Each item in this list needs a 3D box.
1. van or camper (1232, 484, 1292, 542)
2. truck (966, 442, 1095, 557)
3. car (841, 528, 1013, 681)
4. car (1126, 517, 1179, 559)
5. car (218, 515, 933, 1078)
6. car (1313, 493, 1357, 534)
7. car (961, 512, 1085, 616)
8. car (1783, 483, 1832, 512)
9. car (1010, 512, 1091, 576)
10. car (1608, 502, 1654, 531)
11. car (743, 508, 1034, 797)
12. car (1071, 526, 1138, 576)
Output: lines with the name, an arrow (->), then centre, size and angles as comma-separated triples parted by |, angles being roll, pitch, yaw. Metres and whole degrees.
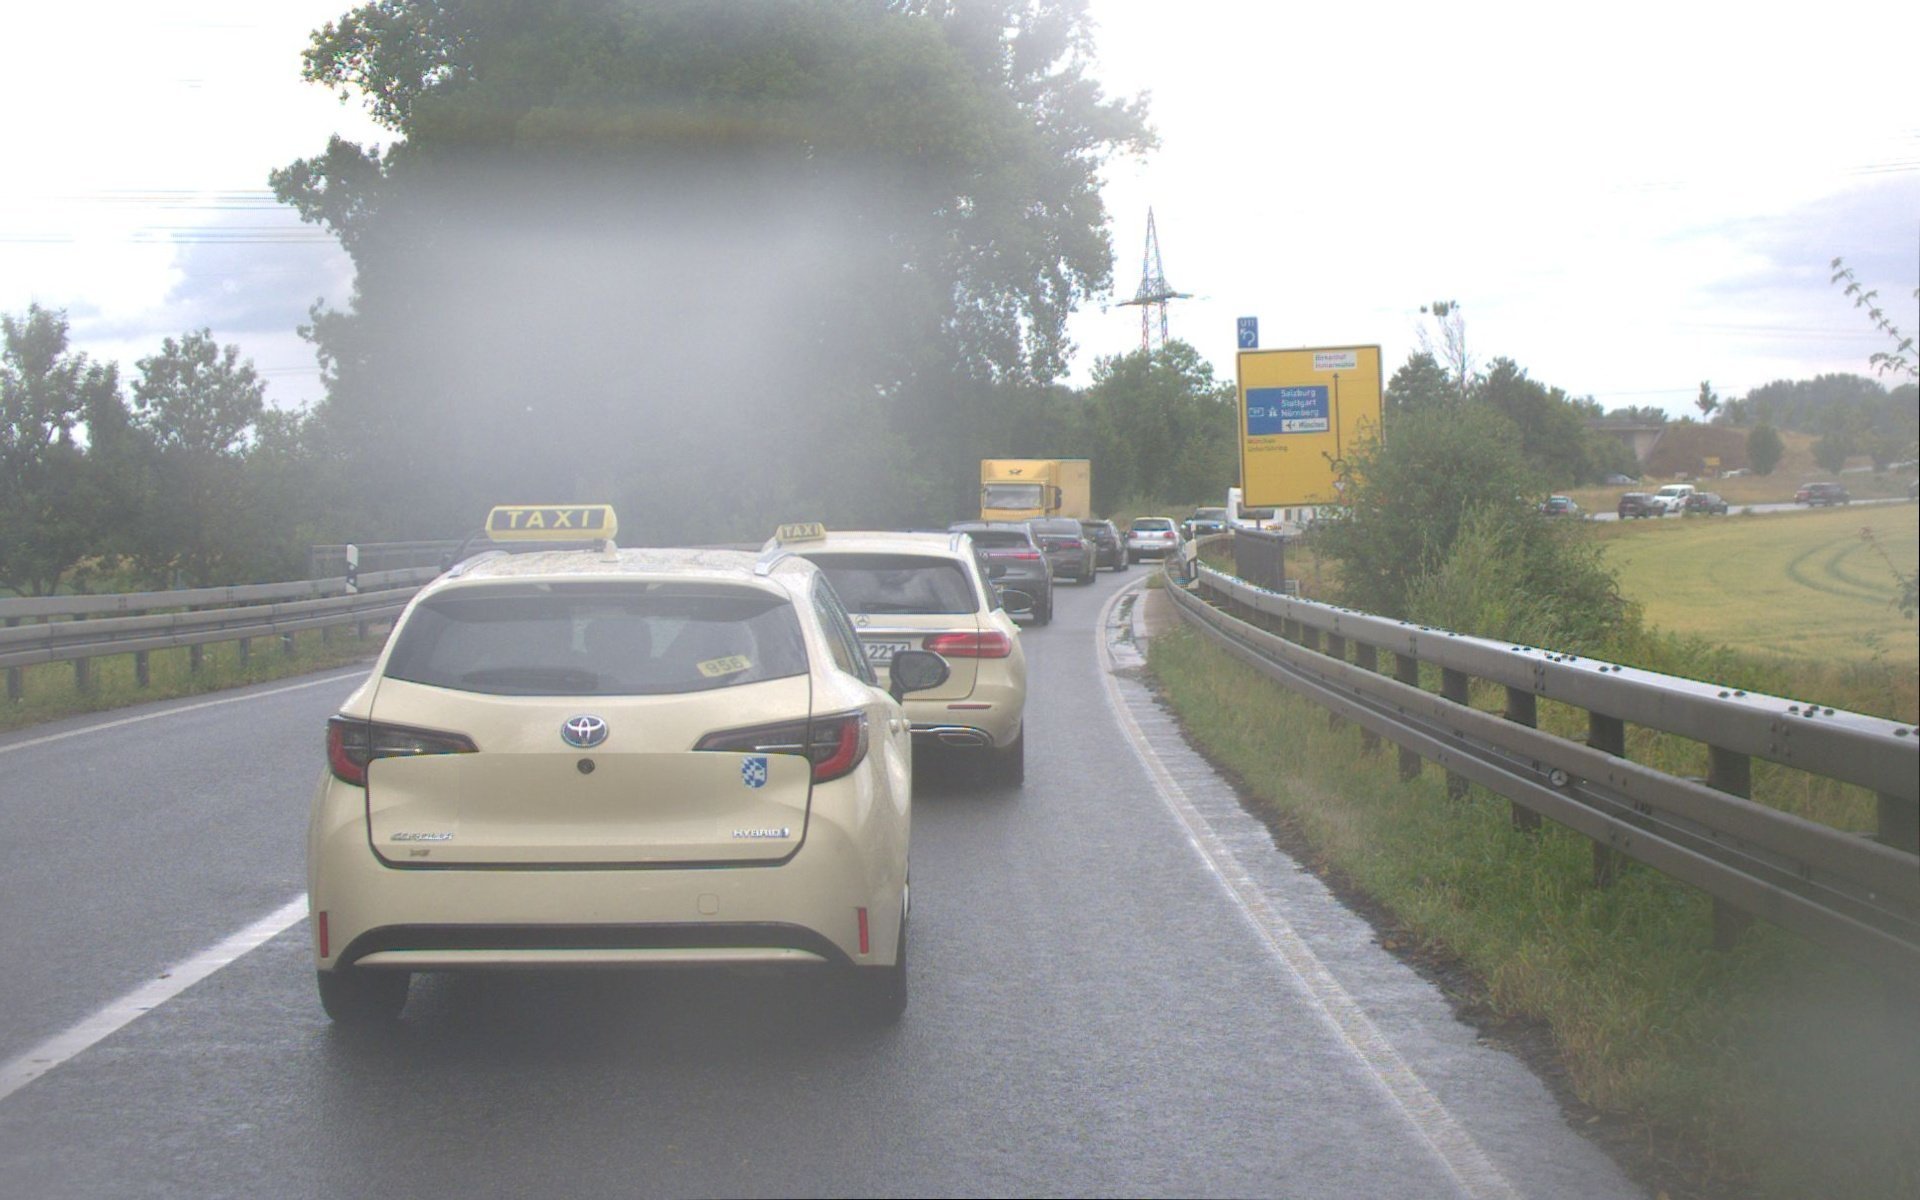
van or camper -> 12.111, -3.466, 137.693 | 1.994, 2.246, 3.998 | 1, 1, 11
truck -> 2.388, -3.368, 112.493 | 2.772, 3.417, 9.185 | 2, 3, 10
car -> -0.287, 0.013, 34.171 | 1.506, 1.432, 3.355 | 0, 1, 3
car -> 6.188, -1.997, 110.379 | 1.483, 1.304, 3.476 | 0, 1, 7
car -> -1.062, 0.493, 11.436 | 1.906, 1.532, 4.162 | 0, 1, 0
car -> 17.139, -3.946, 157.137 | 1.732, 1.813, 3.998 | 1, 1, 10
car -> 0.881, -0.539, 49.864 | 1.665, 1.459, 3.477 | 0, 1, -1
car -> 61.871, -7.492, 250.980 | 2.145, 2.007, 3.992 | 1, 1, 35
car -> 2.029, -1.228, 76.462 | 1.660, 1.404, 3.904 | 0, 0, 3
car -> 43.075, -5.368, 220.539 | 1.821, 1.831, 3.983 | 1, 1, 27
car -> -0.370, 0.247, 20.477 | 1.578, 1.567, 3.681 | 0, 1, 1
car -> 3.916, -1.329, 92.735 | 1.483, 1.304, 3.476 | 0, 1, 8
